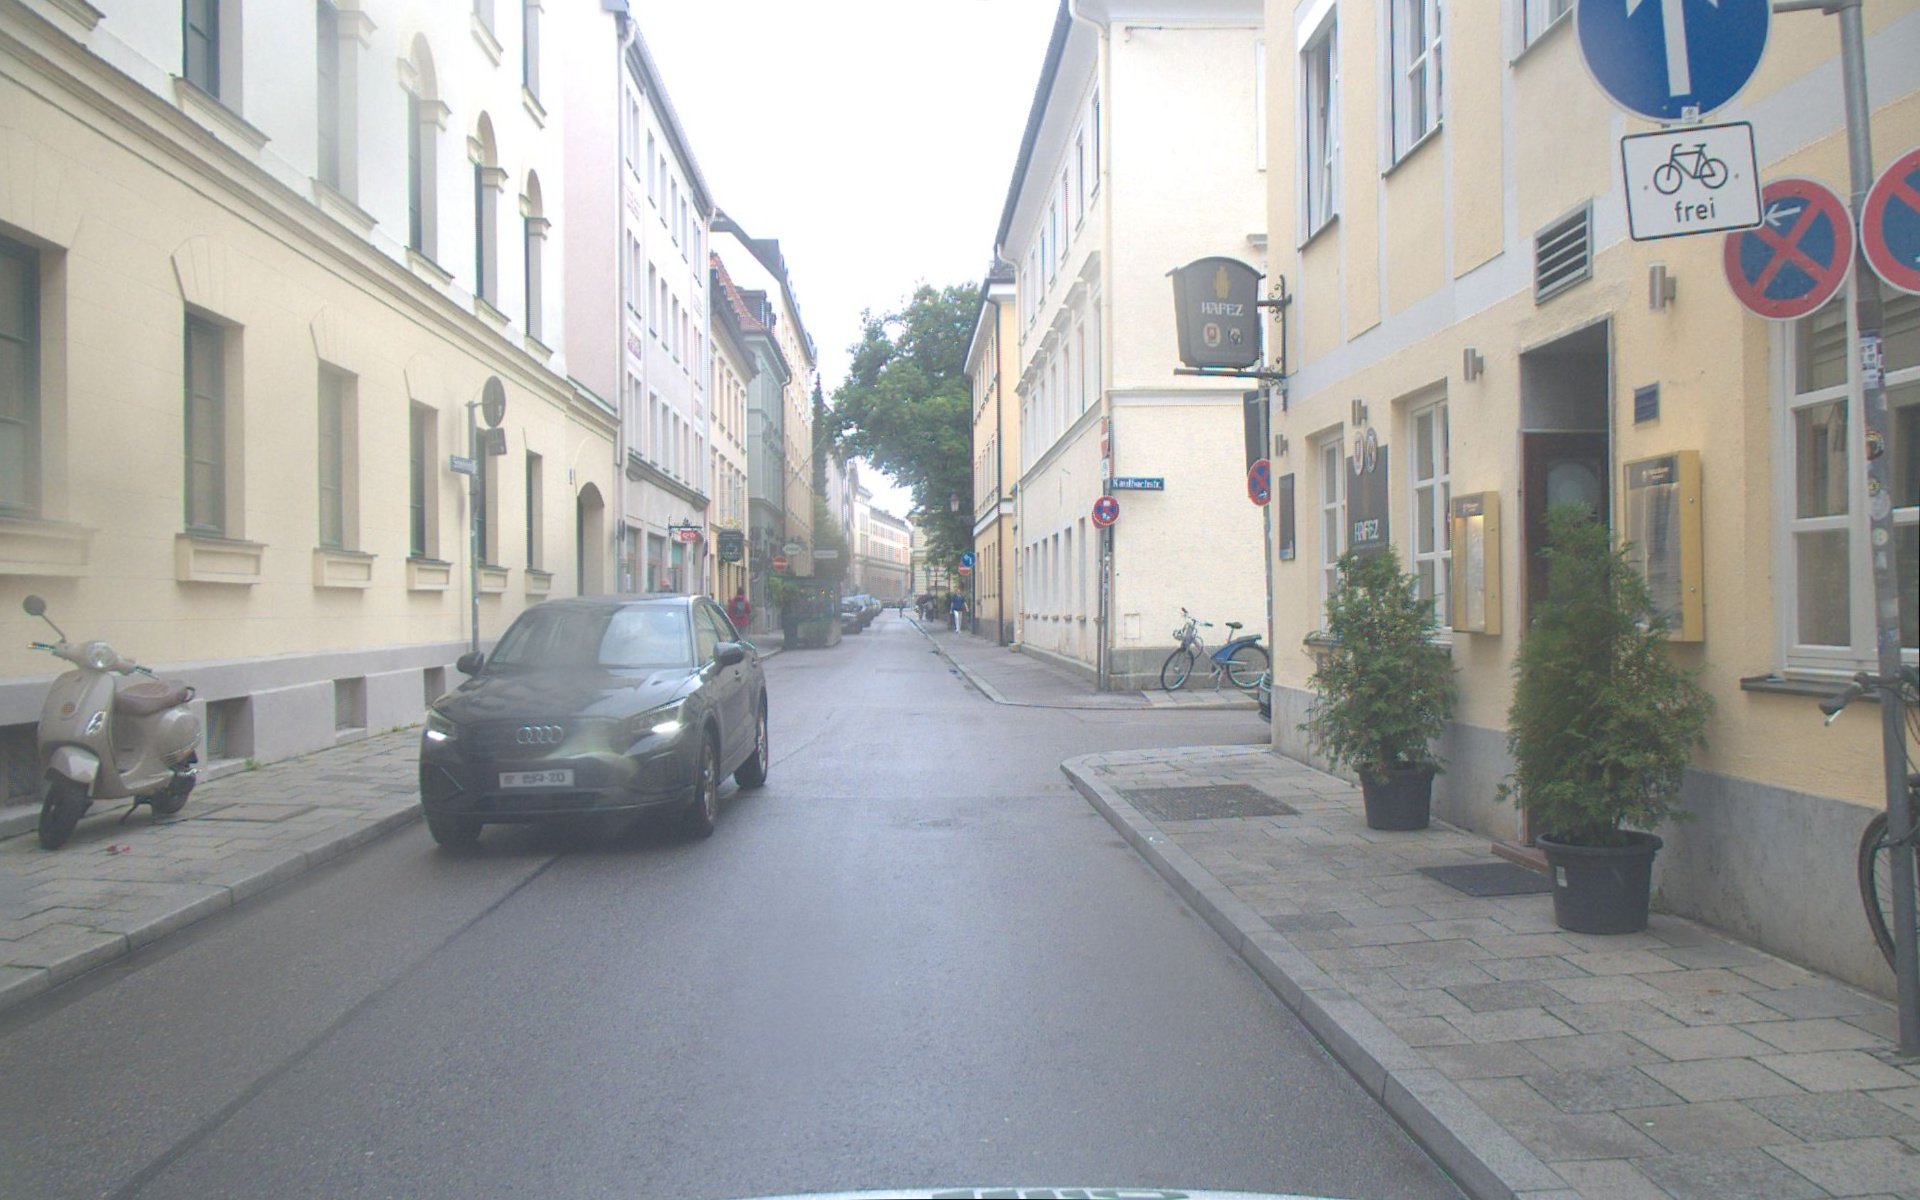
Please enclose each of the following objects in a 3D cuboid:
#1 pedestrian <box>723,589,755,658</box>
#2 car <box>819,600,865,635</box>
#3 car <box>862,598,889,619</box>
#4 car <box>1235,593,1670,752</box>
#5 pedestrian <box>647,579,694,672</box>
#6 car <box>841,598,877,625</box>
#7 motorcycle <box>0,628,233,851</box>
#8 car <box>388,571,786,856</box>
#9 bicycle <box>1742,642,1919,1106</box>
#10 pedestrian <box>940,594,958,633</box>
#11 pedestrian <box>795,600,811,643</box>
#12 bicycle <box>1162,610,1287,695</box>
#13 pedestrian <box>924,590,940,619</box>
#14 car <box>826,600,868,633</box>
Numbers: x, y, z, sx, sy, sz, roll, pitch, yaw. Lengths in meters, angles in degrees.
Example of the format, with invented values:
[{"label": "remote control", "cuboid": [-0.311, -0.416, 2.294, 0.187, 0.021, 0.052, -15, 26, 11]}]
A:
[{"label": "pedestrian", "cuboid": [-5.589, 0.588, 41.905, 0.751, 1.738, 0.784, -1, 0, -5]}, {"label": "car", "cuboid": [-5.212, 0.757, 73.411, 1.743, 1.492, 3.663, 1, 0, 0]}, {"label": "car", "cuboid": [-6.253, 0.624, 122.921, 1.743, 1.492, 3.542, 1, 0, 0]}, {"label": "car", "cuboid": [4.942, 0.705, 16.982, 3.933, 1.466, 1.765, 0, 2, -1]}, {"label": "pedestrian", "cuboid": [-5.653, 0.487, 32.345, 0.793, 1.786, 0.989, 0, 1, -5]}, {"label": "car", "cuboid": [-5.684, 0.651, 93.202, 1.743, 1.492, 3.542, 1, 0, 0]}, {"label": "motorcycle", "cuboid": [-5.035, 0.782, 9.973, 0.590, 1.194, 1.708, 0, 0, -2]}, {"label": "car", "cuboid": [-2.347, 0.645, 11.470, 1.775, 1.622, 4.000, 0, 0, 1]}, {"label": "bicycle", "cuboid": [2.749, 0.725, 4.305, 0.554, 1.156, 1.683, -3, 0, -1]}, {"label": "pedestrian", "cuboid": [-0.526, 0.621, 78.650, 0.862, 1.833, 1.046, 1, 0, -2]}, {"label": "pedestrian", "cuboid": [-4.942, 0.669, 52.068, 0.499, 1.350, 0.630, 1, 0, -4]}, {"label": "bicycle", "cuboid": [3.843, 0.755, 24.078, 1.722, 1.164, 0.586, -1, 2, -2]}, {"label": "pedestrian", "cuboid": [-1.773, 0.305, 106.215, 0.995, 1.833, 1.348, 1, 0, -2]}, {"label": "car", "cuboid": [-5.321, 0.769, 78.252, 1.743, 1.492, 3.542, 1, 0, 0]}]
